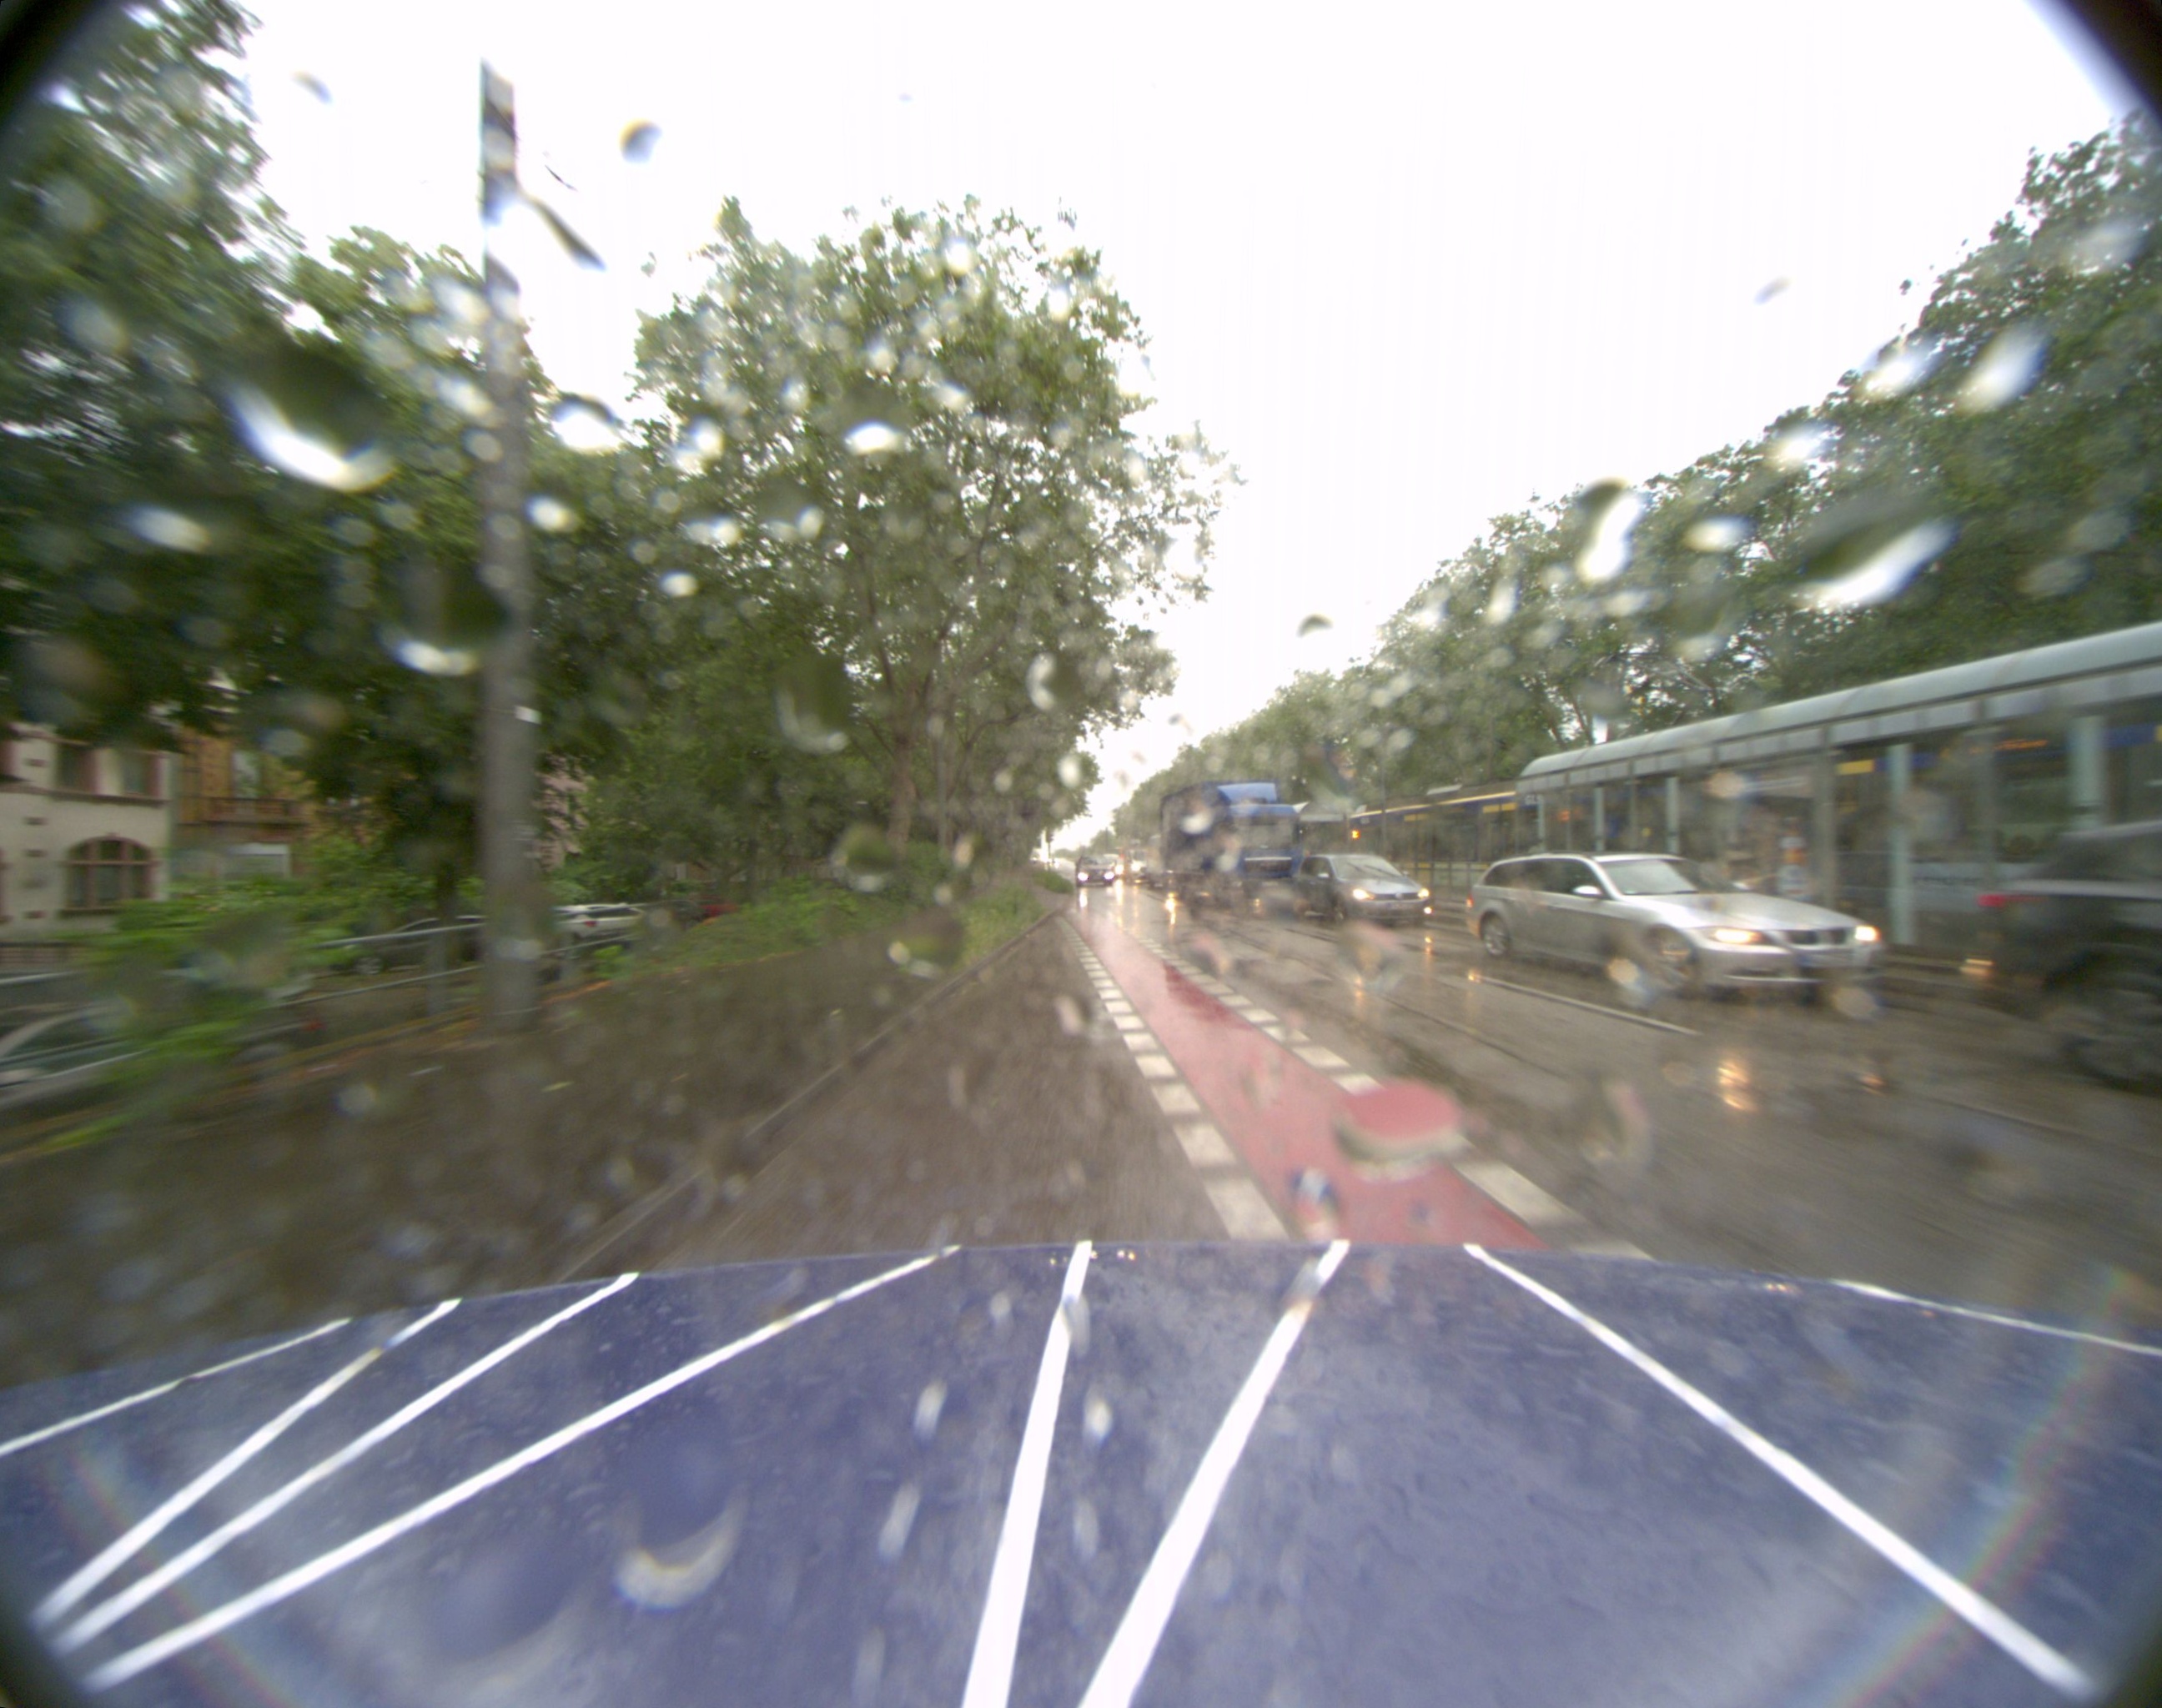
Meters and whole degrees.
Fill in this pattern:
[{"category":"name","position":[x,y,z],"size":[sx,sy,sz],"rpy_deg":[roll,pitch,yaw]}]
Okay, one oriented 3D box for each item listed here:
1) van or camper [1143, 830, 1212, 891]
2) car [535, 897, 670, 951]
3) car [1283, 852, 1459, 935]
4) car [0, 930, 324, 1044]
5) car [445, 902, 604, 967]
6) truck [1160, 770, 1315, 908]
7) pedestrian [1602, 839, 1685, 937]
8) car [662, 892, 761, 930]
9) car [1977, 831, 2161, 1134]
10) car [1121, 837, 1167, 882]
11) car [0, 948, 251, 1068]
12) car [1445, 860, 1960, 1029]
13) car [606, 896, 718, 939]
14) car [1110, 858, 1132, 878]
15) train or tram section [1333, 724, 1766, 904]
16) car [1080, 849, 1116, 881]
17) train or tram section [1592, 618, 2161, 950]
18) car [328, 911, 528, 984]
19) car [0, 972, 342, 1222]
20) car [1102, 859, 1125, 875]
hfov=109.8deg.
[{"category":"van or camper","position":[4.554,0.277,36.816],"size":[1.999,2.555,6.429],"rpy_deg":[-3,0,-4]},{"category":"car","position":[-17.833,2.548,28.366],"size":[4.007,1.557,1.995],"rpy_deg":[-3,1,-38]},{"category":"car","position":[5.977,0.737,16.254],"size":[1.895,1.478,4.076],"rpy_deg":[-2,0,-5]},{"category":"car","position":[-17.057,2.368,14.033],"size":[4.006,1.496,1.655],"rpy_deg":[-2,1,-28]},{"category":"car","position":[-17.971,2.541,24.746],"size":[4.006,1.599,1.821],"rpy_deg":[-3,1,-35]},{"category":"truck","position":[4.905,-0.422,26.181],"size":[2.546,3.866,9.807],"rpy_deg":[0,0,-5]},{"category":"pedestrian","position":[8.609,0.502,11.659],"size":[0.634,1.410,0.750],"rpy_deg":[-3,1,-5]},{"category":"car","position":[-18.019,2.744,37.119],"size":[4.007,1.455,1.833],"rpy_deg":[-3,1,-38]},{"category":"car","position":[6.872,0.668,2.761],"size":[1.999,1.611,4.318],"rpy_deg":[-1,0,-5]},{"category":"car","position":[3.695,0.318,45.394],"size":[1.999,2.412,5.726],"rpy_deg":[-3,0,-1]},{"category":"car","position":[-16.181,2.411,11.681],"size":[4.270,1.372,1.687],"rpy_deg":[-2,1,-31]},{"category":"car","position":[6.482,0.788,8.841],"size":[1.999,1.386,4.604],"rpy_deg":[-1,0,-5]},{"category":"car","position":[-18.399,2.749,33.427],"size":[4.007,1.455,1.908],"rpy_deg":[-3,1,-38]},{"category":"car","position":[2.841,0.961,53.543],"size":[1.466,1.265,3.616],"rpy_deg":[-3,0,4]},{"category":"train or tram section","position":[11.912,-0.851,22.402],"size":[3.523,3.492,13.654],"rpy_deg":[-3,0,-3]},{"category":"car","position":[0.926,0.589,42.520],"size":[1.756,1.657,3.677],"rpy_deg":[-3,0,-2]},{"category":"train or tram section","position":[12.851,-0.806,7.878],"size":[3.551,3.393,15.497],"rpy_deg":[-3,0,-5]},{"category":"car","position":[-18.044,2.532,21.301],"size":[4.006,1.455,1.995],"rpy_deg":[-3,1,-35]},{"category":"car","position":[-8.772,2.003,5.935],"size":[1.973,1.345,4.381],"rpy_deg":[-3,0,-7]},{"category":"car","position":[2.612,1.008,61.789],"size":[1.467,1.185,3.614],"rpy_deg":[-3,0,-4]}]
